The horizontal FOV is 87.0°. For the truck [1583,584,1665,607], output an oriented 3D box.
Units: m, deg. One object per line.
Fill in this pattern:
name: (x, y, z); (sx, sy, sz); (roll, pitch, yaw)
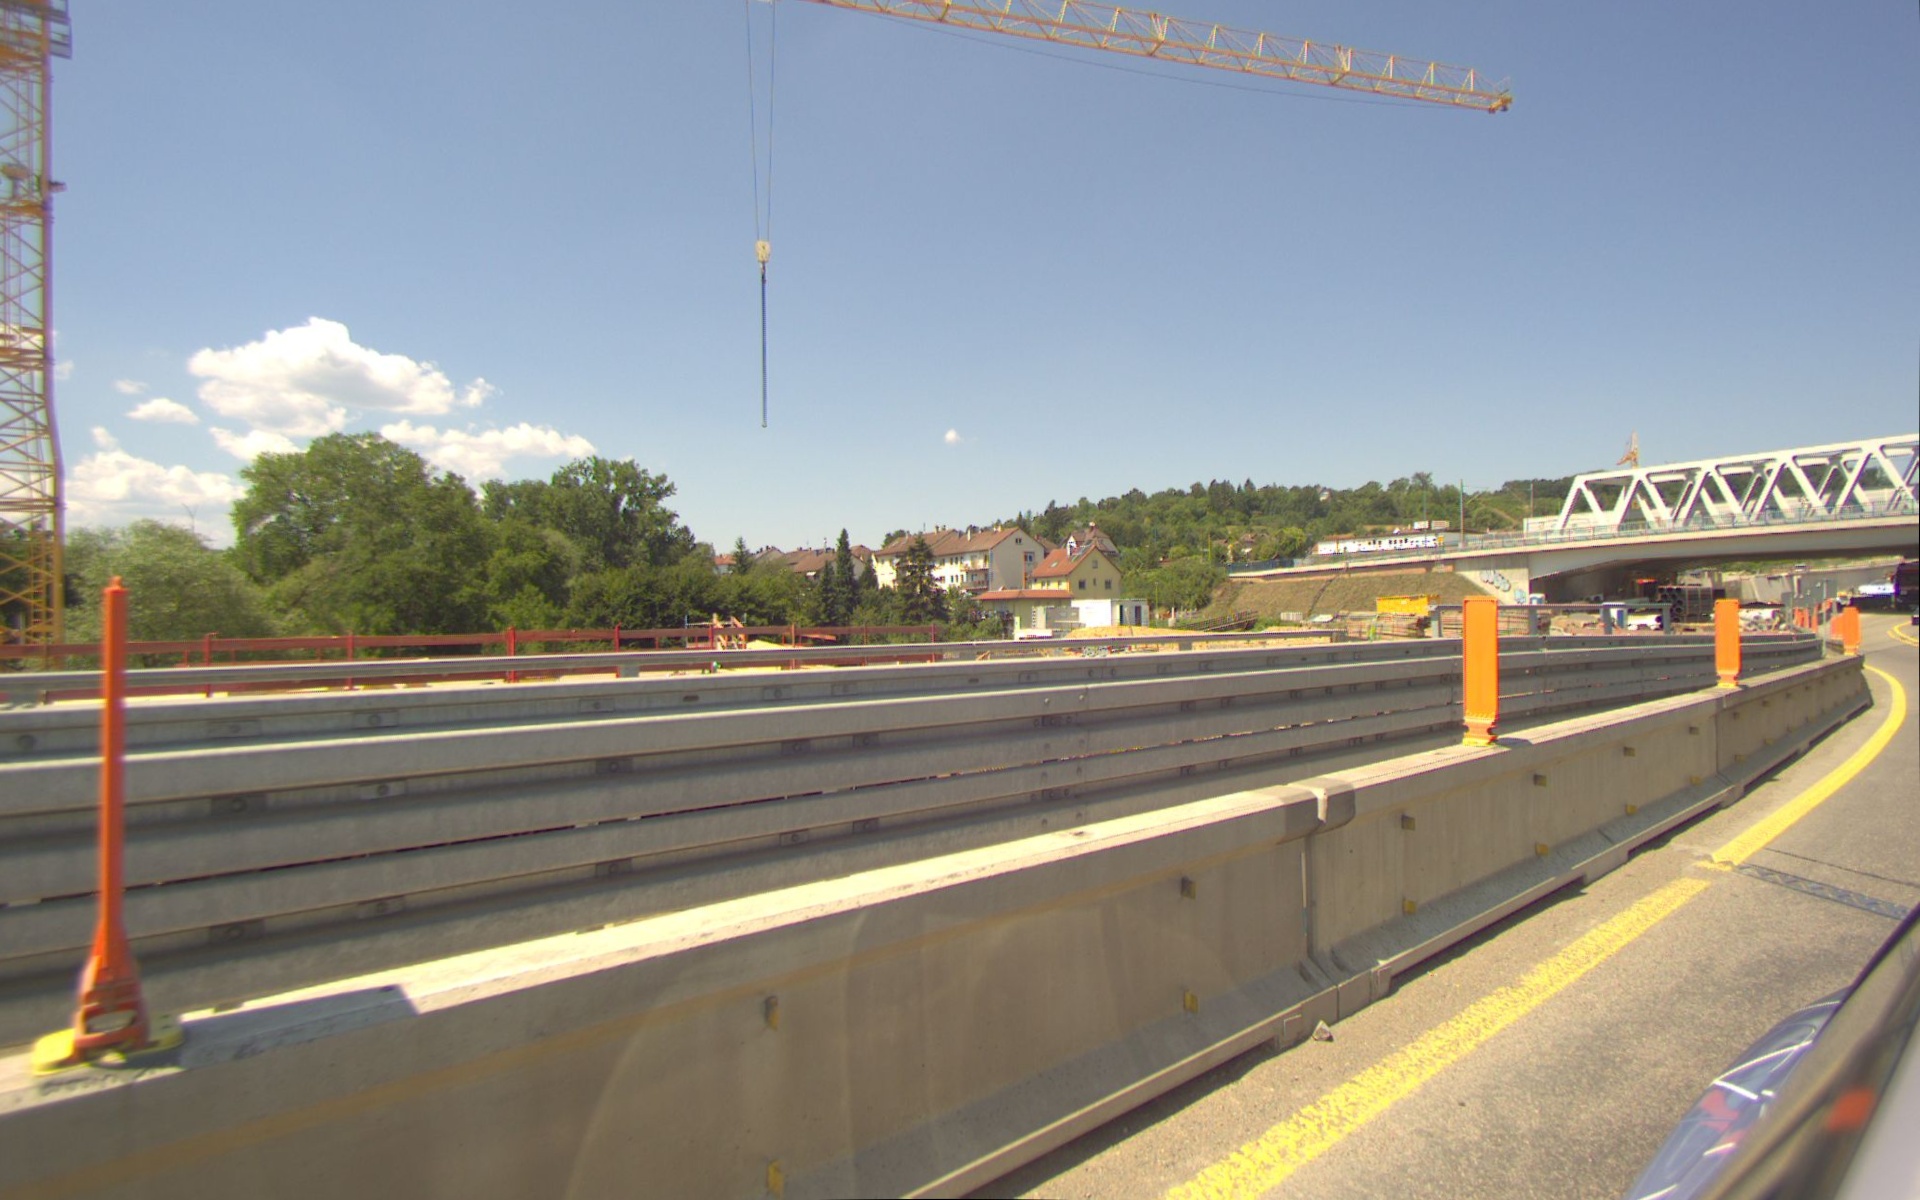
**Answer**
truck: (68.642, -0.446, 104.712); (2.615, 2.099, 6.541); (-2, 0, -35)

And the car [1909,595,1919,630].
car: (64.008, 0.827, 66.703); (3.937, 2.038, 1.994); (-5, 3, -44)

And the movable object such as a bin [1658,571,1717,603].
movable object such as a bin: (81.807, -1.451, 113.807); (2.935, 3.327, 4.568); (-4, 1, -34)

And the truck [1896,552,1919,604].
truck: (84.386, -2.000, 87.576); (10.030, 4.096, 3.463); (-5, 3, -38)

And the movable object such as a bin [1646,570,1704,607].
movable object such as a bin: (74.342, -1.195, 105.234); (2.845, 3.586, 3.898); (-4, 1, -27)

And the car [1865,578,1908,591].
car: (143.349, -2.394, 156.600); (1.692, 1.791, 4.792); (-2, 0, -43)
